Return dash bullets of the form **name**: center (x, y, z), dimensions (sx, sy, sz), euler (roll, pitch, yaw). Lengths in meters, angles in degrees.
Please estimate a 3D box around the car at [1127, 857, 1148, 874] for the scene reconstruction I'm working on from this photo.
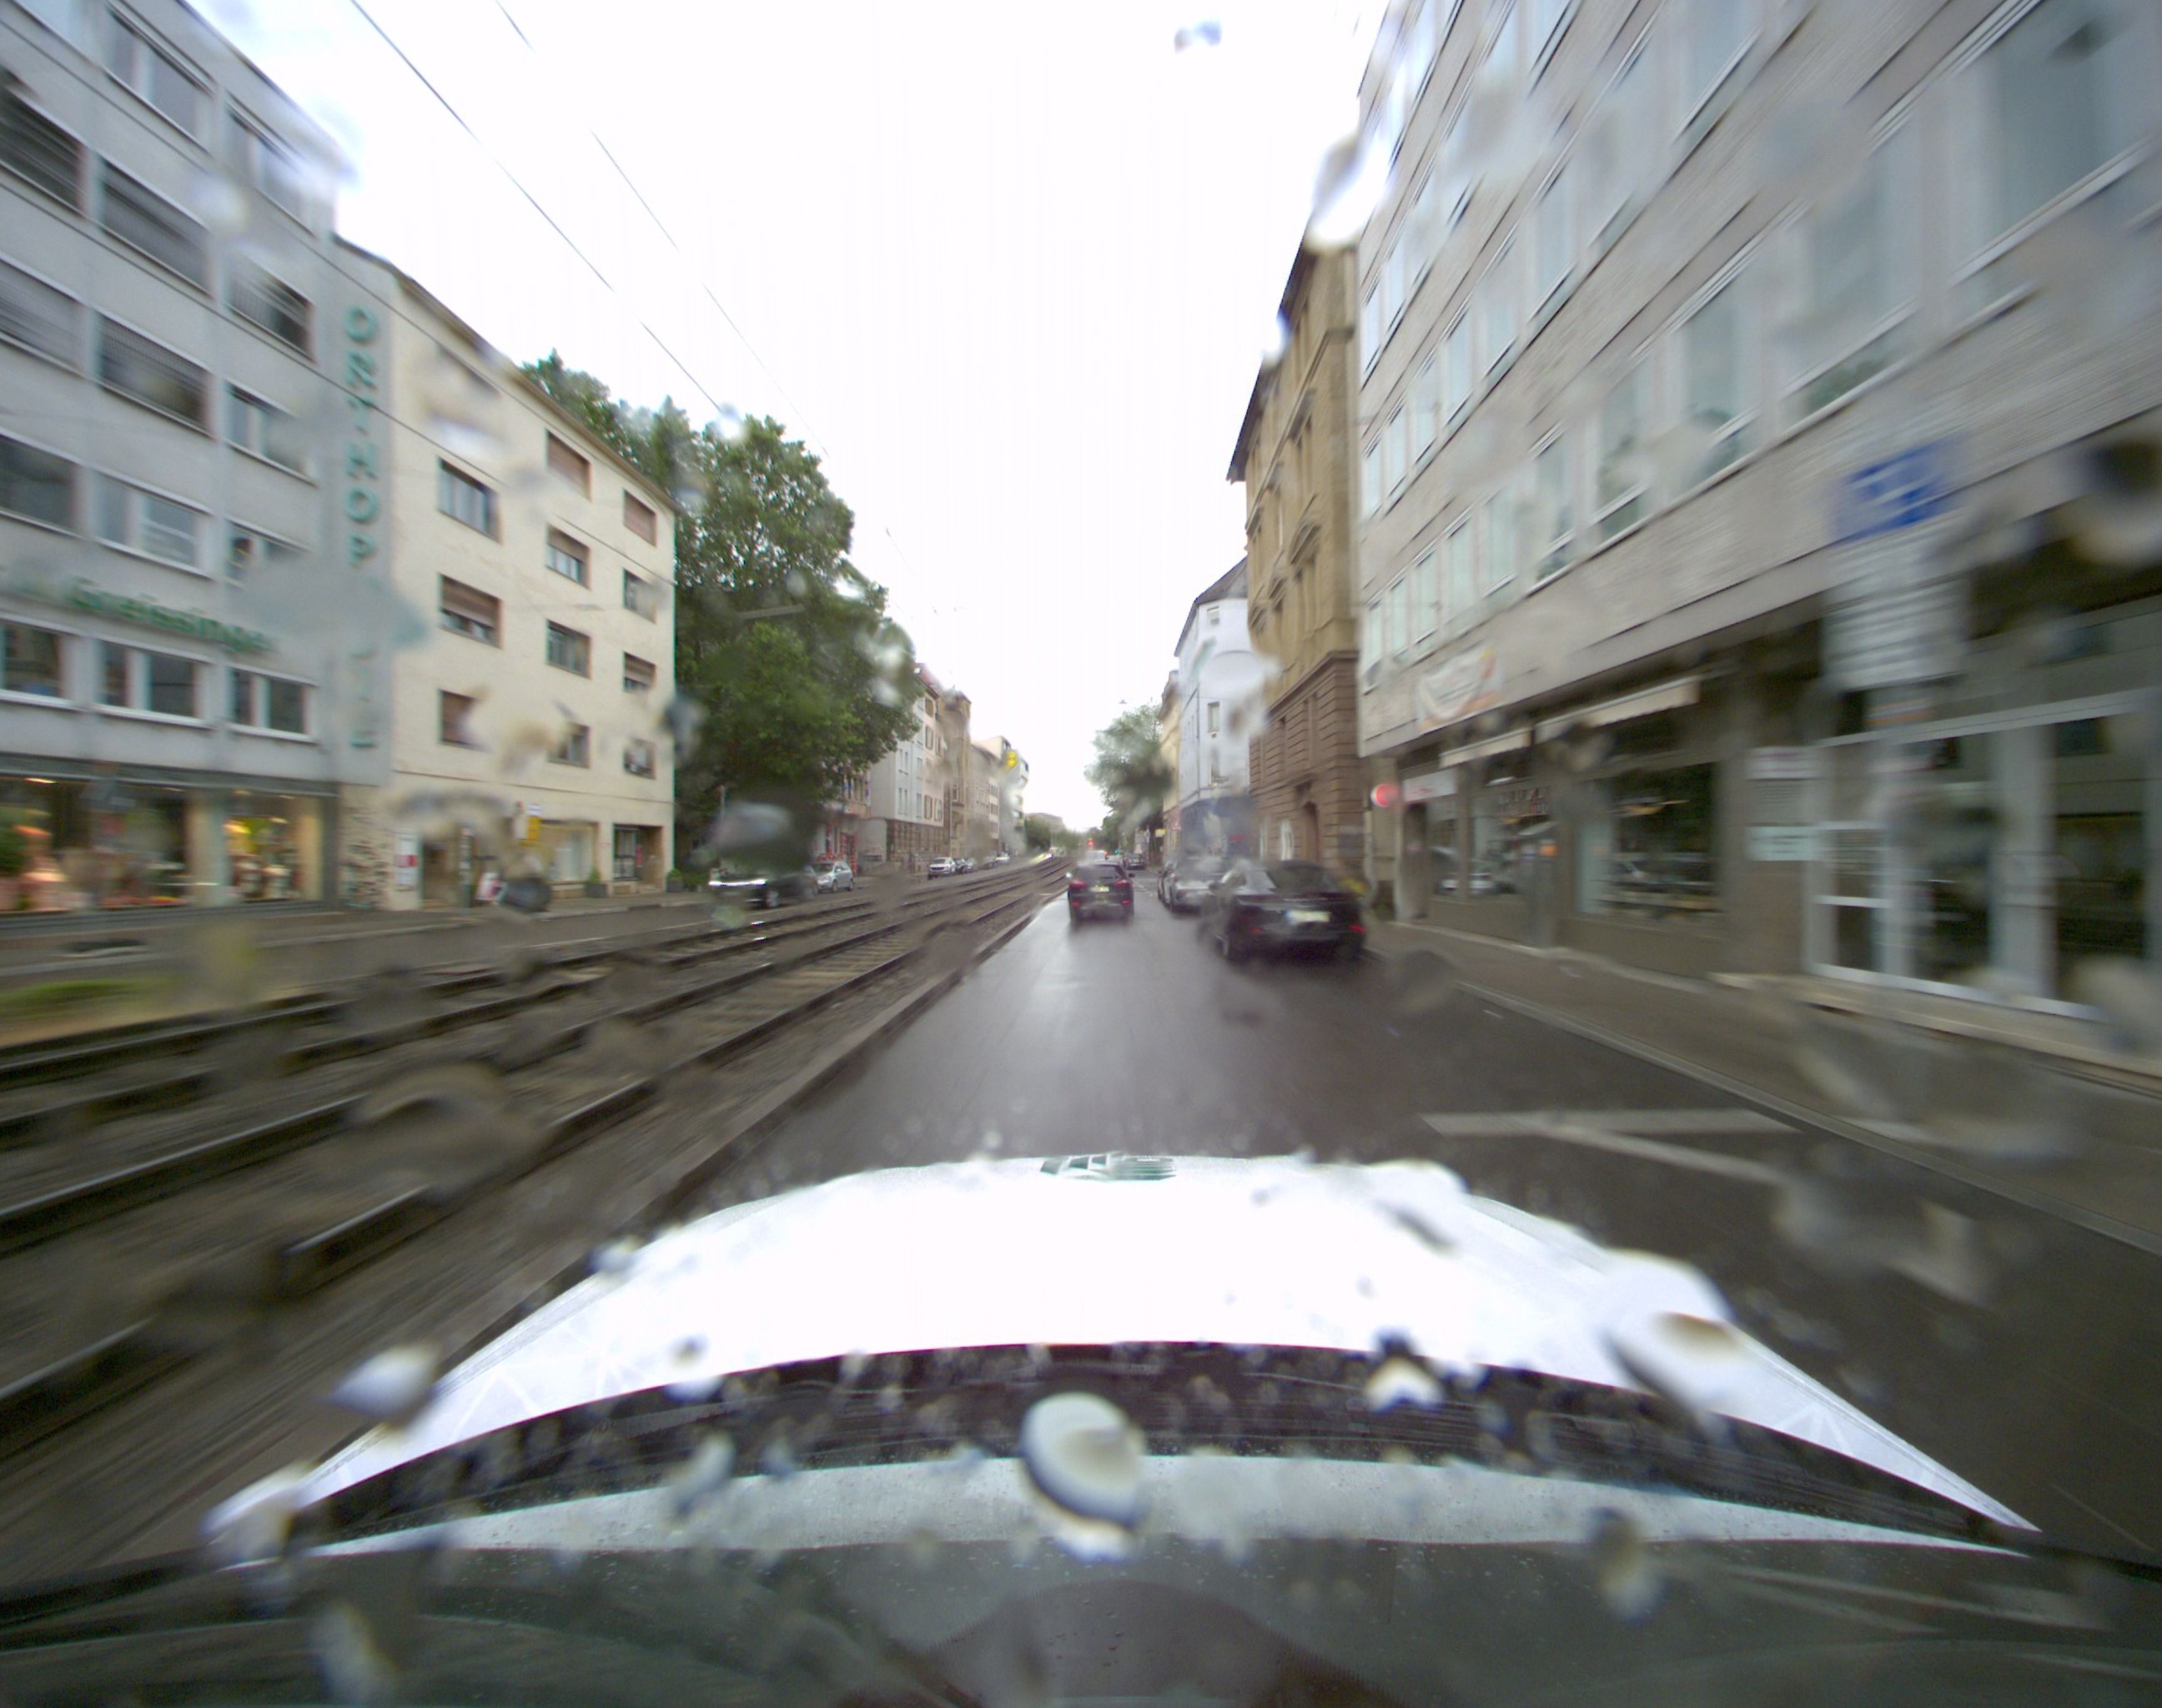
- **car**: center (5.284, 1.055, 75.921), dimensions (1.732, 1.489, 4.000), euler (0, 0, 1)

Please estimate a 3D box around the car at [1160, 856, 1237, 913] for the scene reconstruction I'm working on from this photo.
- **car**: center (3.362, 0.827, 24.106), dimensions (1.740, 1.523, 4.356), euler (0, 0, 1)

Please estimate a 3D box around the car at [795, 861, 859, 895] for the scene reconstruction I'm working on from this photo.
- **car**: center (-12.538, 1.142, 40.419), dimensions (1.715, 1.570, 4.221), euler (0, -1, 1)

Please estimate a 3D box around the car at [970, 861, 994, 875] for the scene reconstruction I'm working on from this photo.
- **car**: center (-10.886, 1.569, 90.057), dimensions (1.986, 1.519, 4.677), euler (0, -1, 1)

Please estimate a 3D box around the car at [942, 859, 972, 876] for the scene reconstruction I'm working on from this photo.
- **car**: center (-11.350, 1.194, 74.648), dimensions (1.986, 1.519, 4.210), euler (0, -1, 1)

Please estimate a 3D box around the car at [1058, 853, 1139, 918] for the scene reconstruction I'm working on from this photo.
- **car**: center (0.511, 0.839, 22.365), dimensions (1.986, 1.594, 4.273), euler (-1, -1, 2)

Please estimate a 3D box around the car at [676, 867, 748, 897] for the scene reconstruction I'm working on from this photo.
- **car**: center (-19.686, 1.446, 43.680), dimensions (1.987, 1.454, 4.000), euler (-1, 0, 1)

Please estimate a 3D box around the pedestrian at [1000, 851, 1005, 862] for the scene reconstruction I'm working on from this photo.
- **pedestrian**: center (-13.023, 0.391, 135.645), dimensions (0.741, 1.854, 0.839), euler (-1, -2, 0)

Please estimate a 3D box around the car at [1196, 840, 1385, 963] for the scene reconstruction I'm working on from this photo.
- **car**: center (3.094, 0.677, 13.061), dimensions (1.986, 1.594, 4.573), euler (-1, -1, 2)

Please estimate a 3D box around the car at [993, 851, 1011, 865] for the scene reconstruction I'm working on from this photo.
- **car**: center (-10.412, 0.576, 107.690), dimensions (1.987, 1.839, 5.069), euler (0, -1, 0)

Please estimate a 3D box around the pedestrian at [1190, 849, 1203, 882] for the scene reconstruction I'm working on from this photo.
- **pedestrian**: center (6.493, 0.639, 45.751), dimensions (0.659, 1.852, 0.821), euler (0, 0, 1)

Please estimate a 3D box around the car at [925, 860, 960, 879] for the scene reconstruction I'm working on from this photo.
- **car**: center (-11.610, 1.266, 68.536), dimensions (1.986, 1.519, 4.436), euler (0, -1, 1)

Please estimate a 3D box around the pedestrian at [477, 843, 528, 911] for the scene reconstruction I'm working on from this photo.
- **pedestrian**: center (-16.605, 0.660, 23.401), dimensions (0.724, 1.896, 0.983), euler (0, -1, 1)

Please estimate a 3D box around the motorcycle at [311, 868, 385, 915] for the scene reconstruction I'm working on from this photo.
- **motorcycle**: center (-18.472, 0.944, 20.536), dimensions (1.472, 1.180, 0.386), euler (0, -1, 0)

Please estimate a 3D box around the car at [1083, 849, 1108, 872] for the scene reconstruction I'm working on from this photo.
- **car**: center (1.232, 0.586, 67.273), dimensions (1.986, 1.816, 4.273), euler (-1, -1, 2)

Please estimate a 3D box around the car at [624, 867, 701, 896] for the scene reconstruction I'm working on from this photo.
- **car**: center (-22.300, 1.441, 43.592), dimensions (1.987, 1.365, 4.000), euler (-1, 0, 1)

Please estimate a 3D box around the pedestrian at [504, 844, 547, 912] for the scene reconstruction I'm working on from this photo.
- **pedestrian**: center (-15.838, 0.687, 23.242), dimensions (0.676, 1.896, 0.743), euler (0, -1, 1)

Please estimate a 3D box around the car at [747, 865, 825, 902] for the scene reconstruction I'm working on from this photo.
- **car**: center (-12.755, 1.224, 35.473), dimensions (1.737, 1.469, 4.221), euler (-1, -1, 1)

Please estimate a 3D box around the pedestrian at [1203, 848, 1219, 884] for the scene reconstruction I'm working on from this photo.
- **pedestrian**: center (7.332, 0.651, 45.929), dimensions (0.733, 2.013, 0.821), euler (0, 0, 0)

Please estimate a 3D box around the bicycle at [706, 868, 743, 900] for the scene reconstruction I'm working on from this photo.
- **bicycle**: center (-14.267, 1.184, 32.662), dimensions (0.590, 1.227, 2.399), euler (0, -1, -5)

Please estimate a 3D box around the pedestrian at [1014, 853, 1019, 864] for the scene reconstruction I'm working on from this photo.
- **pedestrian**: center (-11.211, 0.719, 141.804), dimensions (0.741, 1.854, 0.839), euler (-1, -2, 0)

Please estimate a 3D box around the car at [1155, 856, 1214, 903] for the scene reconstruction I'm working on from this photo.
- **car**: center (3.599, 0.845, 28.941), dimensions (1.713, 1.516, 4.261), euler (0, 0, 3)

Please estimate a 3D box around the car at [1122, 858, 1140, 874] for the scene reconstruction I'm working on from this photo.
- **car**: center (4.940, 1.191, 80.457), dimensions (1.637, 1.516, 4.039), euler (0, 0, 1)

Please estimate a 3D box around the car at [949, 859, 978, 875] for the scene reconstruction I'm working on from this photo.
- **car**: center (-11.397, 1.237, 79.426), dimensions (1.986, 1.519, 4.993), euler (0, -1, 1)

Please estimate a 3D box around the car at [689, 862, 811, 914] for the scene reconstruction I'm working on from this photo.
- **car**: center (-10.439, 1.006, 26.097), dimensions (1.986, 1.519, 4.445), euler (0, -1, 1)

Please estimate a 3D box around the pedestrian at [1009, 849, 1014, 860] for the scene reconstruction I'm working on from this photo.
- **pedestrian**: center (-11.554, 0.115, 135.704), dimensions (0.741, 1.854, 0.839), euler (-1, -2, 0)
